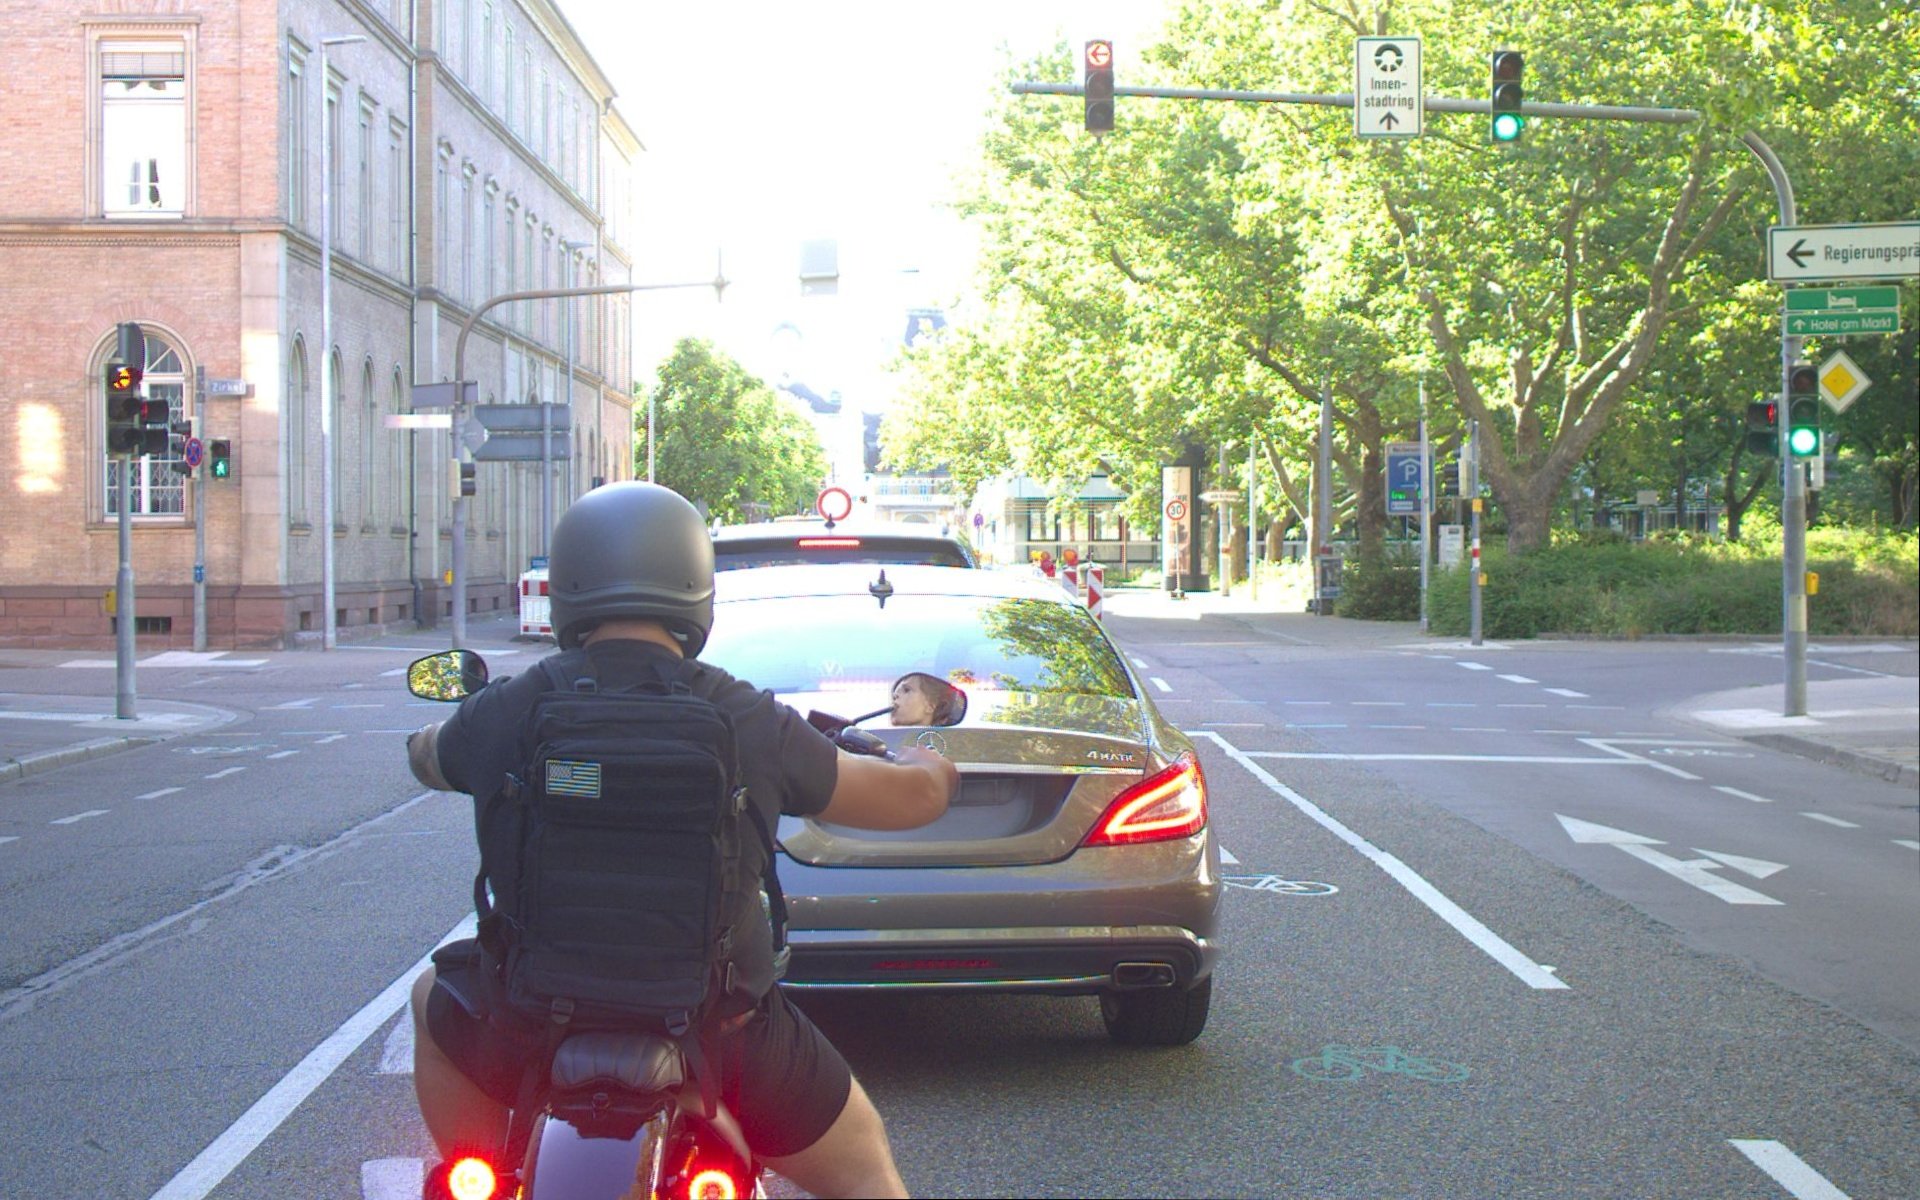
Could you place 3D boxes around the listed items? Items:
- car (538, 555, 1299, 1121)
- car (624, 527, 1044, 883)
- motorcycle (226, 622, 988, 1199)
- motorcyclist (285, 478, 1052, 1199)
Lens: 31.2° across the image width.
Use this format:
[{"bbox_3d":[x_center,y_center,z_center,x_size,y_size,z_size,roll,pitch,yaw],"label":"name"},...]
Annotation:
[{"bbox_3d":[-0.352,0.586,11.134,1.901,1.436,4.290,0,1,-8],"label":"car"},{"bbox_3d":[-0.648,0.417,16.777,1.813,1.530,3.849,0,1,-3],"label":"car"},{"bbox_3d":[-0.468,0.738,5.546,0.962,1.352,2.320,1,1,-1],"label":"motorcycle"},{"bbox_3d":[-0.418,0.620,5.274,1.061,1.577,0.908,1,0,-1],"label":"motorcyclist"}]
